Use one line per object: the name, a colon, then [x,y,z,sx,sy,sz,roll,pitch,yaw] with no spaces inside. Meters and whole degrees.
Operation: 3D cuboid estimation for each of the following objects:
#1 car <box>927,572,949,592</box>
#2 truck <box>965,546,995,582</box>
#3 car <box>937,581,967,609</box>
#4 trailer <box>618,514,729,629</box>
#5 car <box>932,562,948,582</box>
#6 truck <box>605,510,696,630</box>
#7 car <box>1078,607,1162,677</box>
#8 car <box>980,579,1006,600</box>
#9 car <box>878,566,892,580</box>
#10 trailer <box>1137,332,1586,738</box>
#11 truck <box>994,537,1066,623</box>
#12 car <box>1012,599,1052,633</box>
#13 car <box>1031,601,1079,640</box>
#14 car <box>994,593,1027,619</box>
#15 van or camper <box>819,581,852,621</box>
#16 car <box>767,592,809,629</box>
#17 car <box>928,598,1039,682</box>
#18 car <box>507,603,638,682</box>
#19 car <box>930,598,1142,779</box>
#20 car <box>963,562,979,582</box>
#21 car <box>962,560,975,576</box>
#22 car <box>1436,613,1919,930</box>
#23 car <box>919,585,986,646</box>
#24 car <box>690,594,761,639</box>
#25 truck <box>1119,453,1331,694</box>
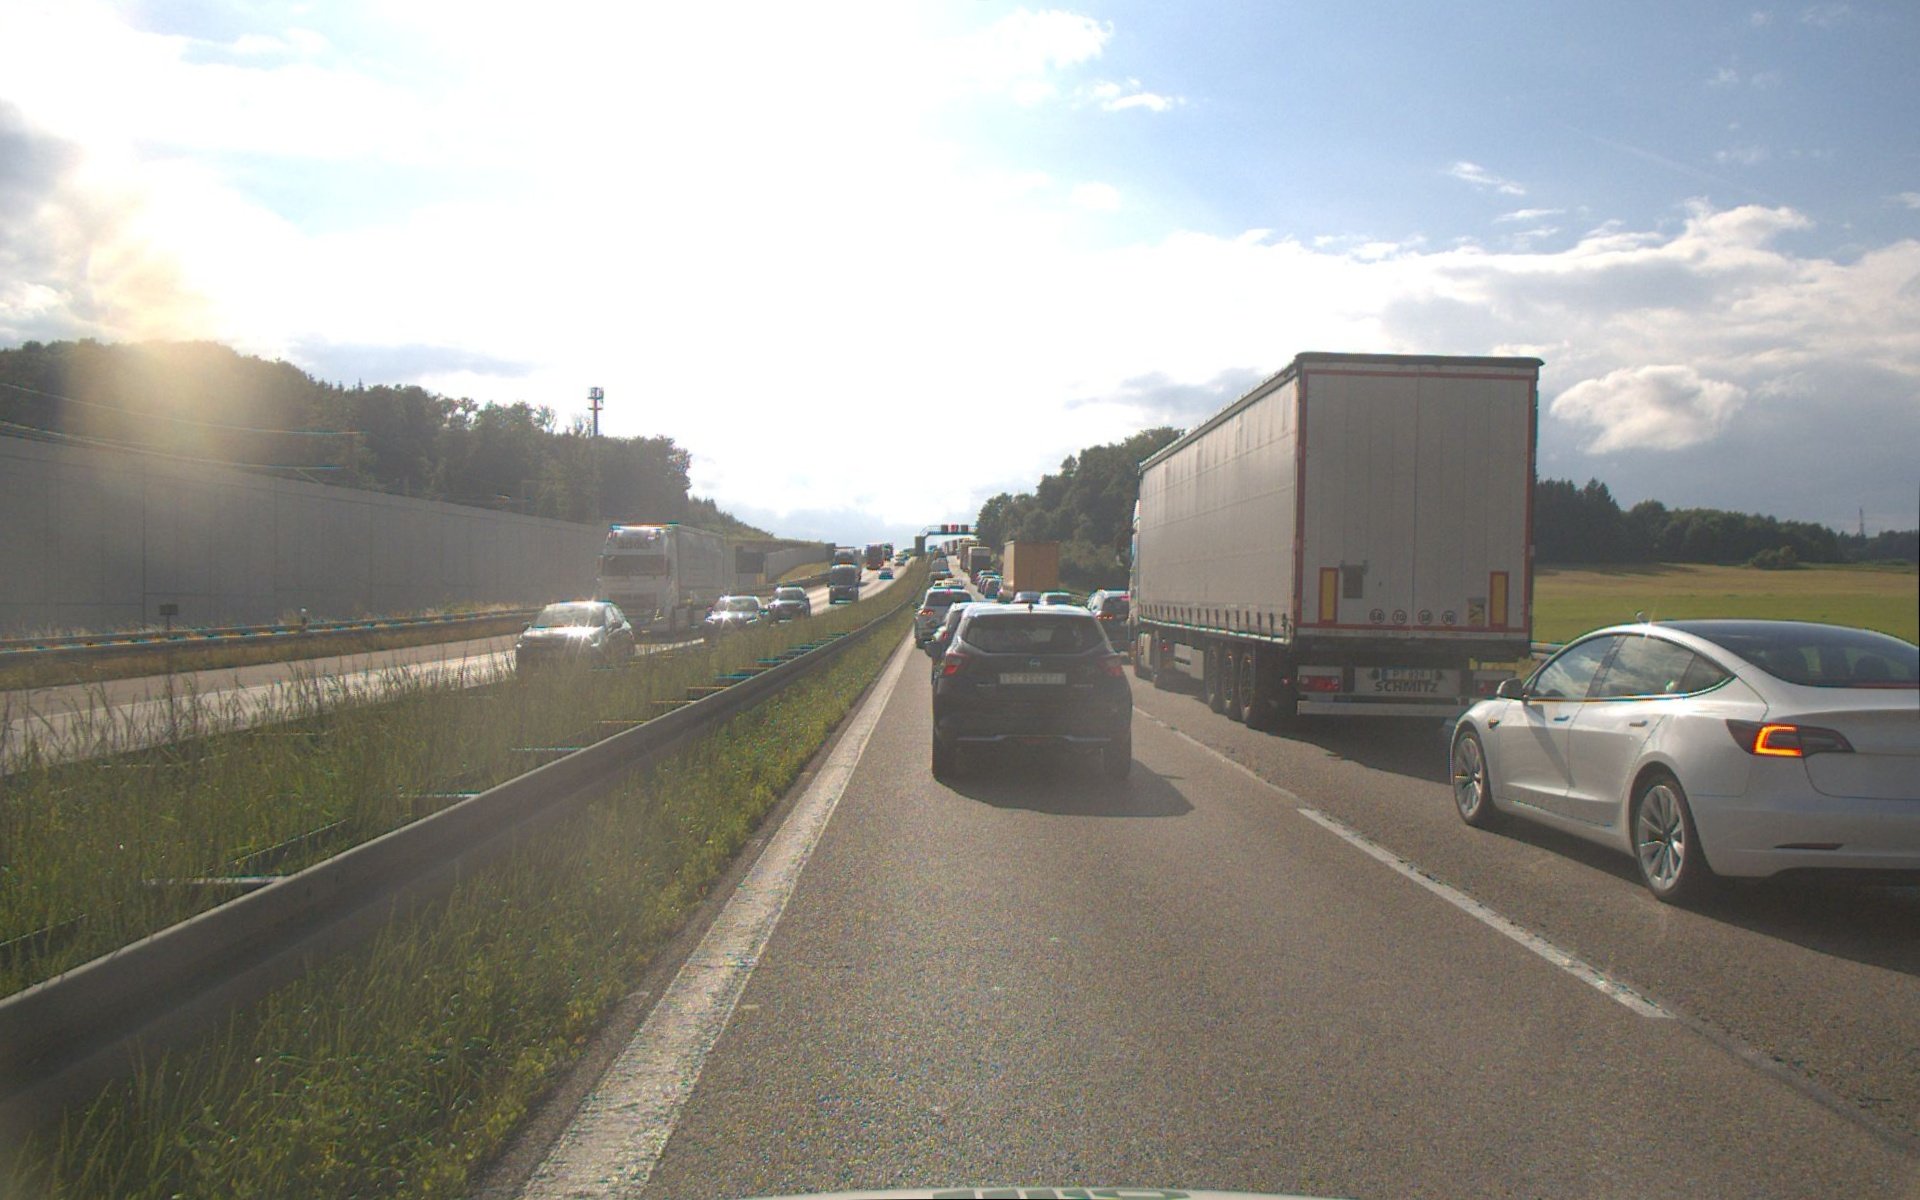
car: [-1.896,-1.590,144.206,1.835,1.673,4.231,0,1,-2]
truck: [2.656,-4.816,222.078,3.394,4.657,12.437,1,1,-2]
car: [-0.509,-0.335,104.983,1.835,1.673,4.232,0,1,-1]
trailer: [-11.582,-1.020,68.213,2.341,4.255,13.201,-1,0,0]
car: [-2.312,-3.232,188.636,1.835,2.196,5.211,0,3,-1]
truck: [-11.530,-1.057,62.027,2.332,4.254,5.931,-1,0,-1]
car: [3.887,0.991,40.761,1.663,1.639,4.436,0,0,0]
car: [2.727,-0.881,139.342,1.836,1.673,4.229,0,1,-4]
car: [-9.900,-3.542,218.484,1.709,1.735,4.230,-2,0,-2]
trailer: [4.800,-0.534,23.462,3.066,4.081,13.364,1,-1,0]
truck: [3.975,-1.041,97.053,3.230,4.657,12.435,1,-1,-2]
car: [3.637,0.793,84.110,1.835,1.673,4.232,0,0,-1]
car: [4.216,0.906,73.997,1.835,1.673,4.231,0,0,-1]
car: [3.277,0.386,108.382,1.836,1.673,4.230,0,0,-3]
van or camper: [-9.256,0.113,123.094,2.047,2.869,5.894,1,-1,-1]
car: [-8.194,0.497,78.984,1.674,1.736,4.172,0,0,-2]
car: [0.367,0.668,29.319,1.835,1.381,4.231,0,0,-1]
car: [-7.725,0.819,33.313,1.733,1.505,3.828,0,-1,0]
car: [0.603,0.735,15.627,1.737,1.476,4.231,0,0,-1]
car: [1.277,-3.322,196.648,1.835,2.196,5.211,0,3,-1]
car: [1.285,-4.874,251.378,1.835,2.196,5.211,0,3,-1]
car: [4.436,0.807,9.847,1.753,1.418,4.434,0,0,-3]
car: [-0.231,0.439,47.632,1.835,1.673,4.231,0,0,-1]
car: [-7.503,0.519,53.292,1.706,1.381,4.231,0,0,-1]
truck: [4.783,-0.411,30.855,3.069,4.086,5.163,1,-1,0]
